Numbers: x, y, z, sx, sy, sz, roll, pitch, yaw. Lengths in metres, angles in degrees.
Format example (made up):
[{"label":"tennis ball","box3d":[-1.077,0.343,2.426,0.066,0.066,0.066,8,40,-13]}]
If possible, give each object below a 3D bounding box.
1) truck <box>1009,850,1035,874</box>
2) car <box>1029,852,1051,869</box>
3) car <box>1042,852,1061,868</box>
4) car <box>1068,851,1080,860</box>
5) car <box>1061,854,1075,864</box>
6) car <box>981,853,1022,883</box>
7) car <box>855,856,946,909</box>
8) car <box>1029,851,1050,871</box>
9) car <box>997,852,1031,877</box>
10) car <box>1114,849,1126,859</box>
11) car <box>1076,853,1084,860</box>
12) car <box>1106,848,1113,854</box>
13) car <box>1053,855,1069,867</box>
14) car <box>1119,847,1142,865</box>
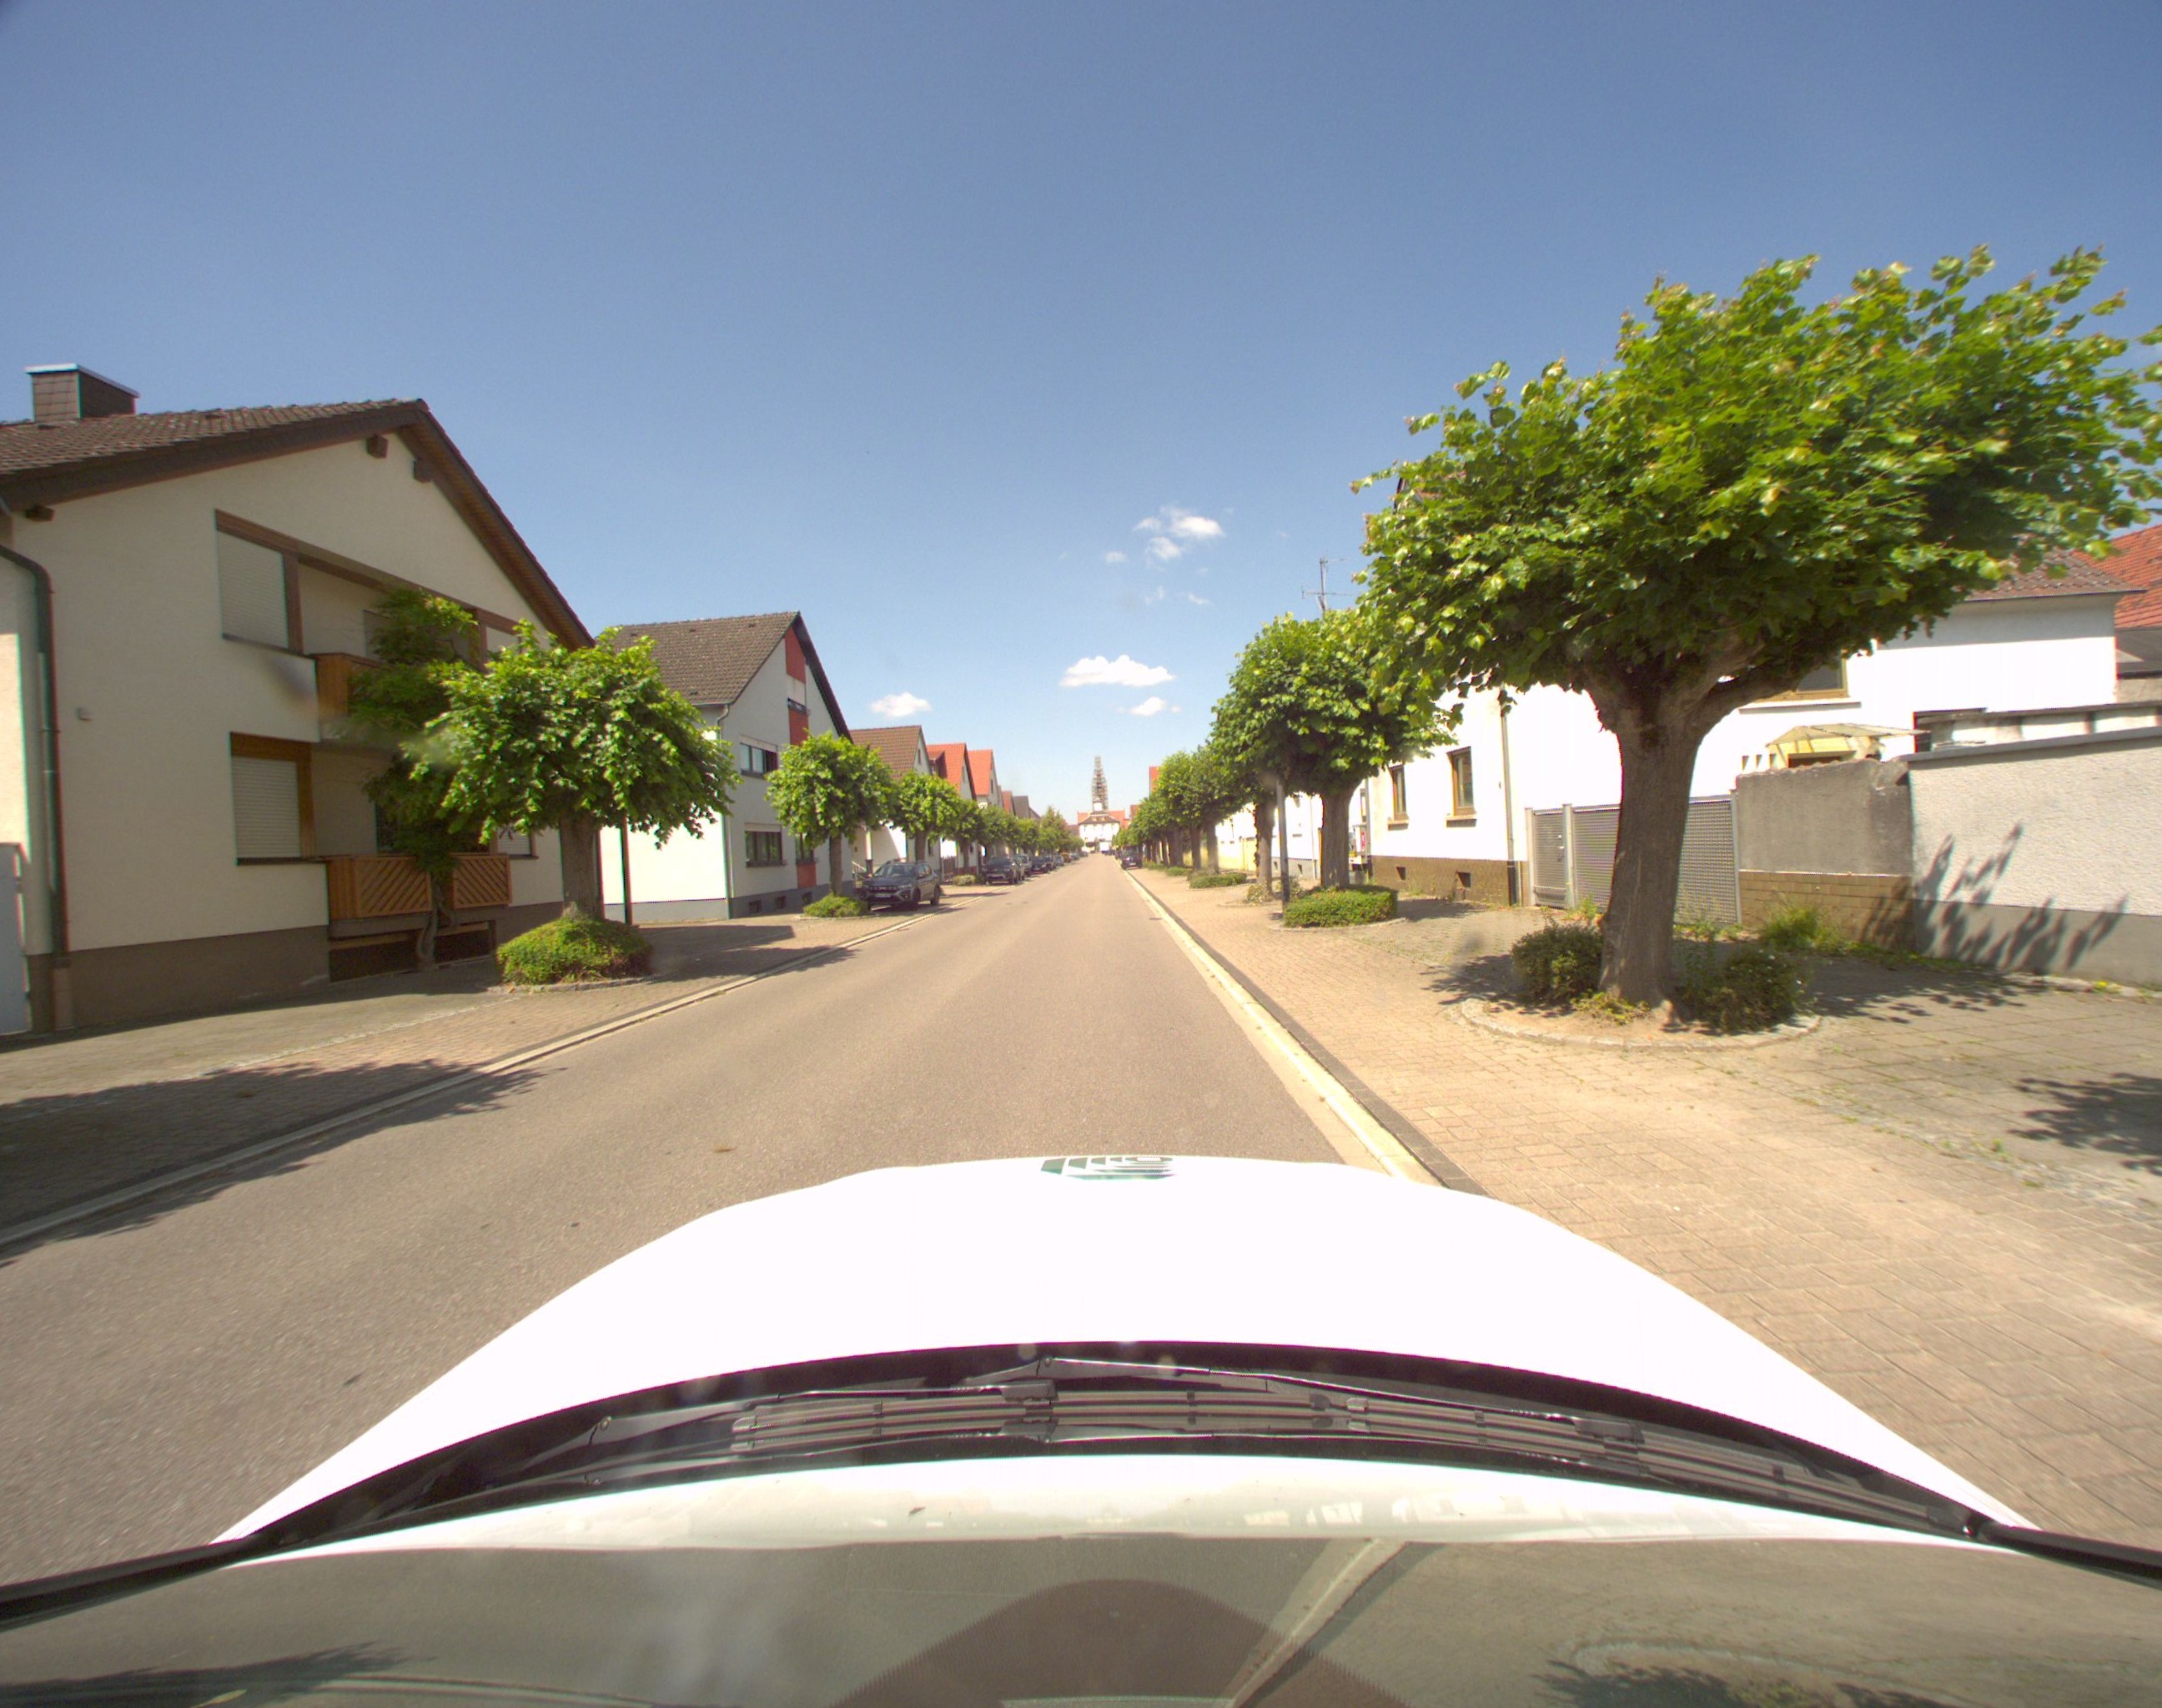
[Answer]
[{"label":"truck","box3d":[-4.582,0.618,63.557,1.570,1.765,4.193,0,0,2]},{"label":"car","box3d":[-3.984,0.662,80.340,1.846,1.635,4.058,0,0,2]},{"label":"car","box3d":[-3.236,0.623,89.985,1.988,1.652,4.364,-1,0,-2]},{"label":"car","box3d":[-1.392,0.331,156.392,1.985,1.611,4.692,0,1,3]},{"label":"car","box3d":[-2.080,0.781,134.498,1.985,1.611,4.692,-1,0,3]},{"label":"car","box3d":[-4.559,0.775,47.362,1.846,1.636,4.301,0,1,2]},{"label":"car","box3d":[-5.854,0.880,26.870,1.845,1.613,4.139,0,0,4]},{"label":"car","box3d":[-3.689,0.609,71.861,1.782,1.634,3.994,-1,0,-4]},{"label":"car","box3d":[-4.530,0.716,55.516,1.846,1.613,4.372,0,0,2]},{"label":"car","box3d":[6.787,-0.031,141.849,1.831,1.555,4.315,-4,0,1]},{"label":"car","box3d":[-0.244,0.564,199.154,1.751,1.555,4.022,-2,0,2]},{"label":"car","box3d":[6.971,-0.677,200.048,1.723,1.547,3.456,0,-1,2]},{"label":"car","box3d":[-2.533,0.894,104.739,1.834,1.396,4.407,-1,0,1]},{"label":"car","box3d":[4.338,0.151,72.147,1.817,1.432,4.058,-4,0,2]}]
